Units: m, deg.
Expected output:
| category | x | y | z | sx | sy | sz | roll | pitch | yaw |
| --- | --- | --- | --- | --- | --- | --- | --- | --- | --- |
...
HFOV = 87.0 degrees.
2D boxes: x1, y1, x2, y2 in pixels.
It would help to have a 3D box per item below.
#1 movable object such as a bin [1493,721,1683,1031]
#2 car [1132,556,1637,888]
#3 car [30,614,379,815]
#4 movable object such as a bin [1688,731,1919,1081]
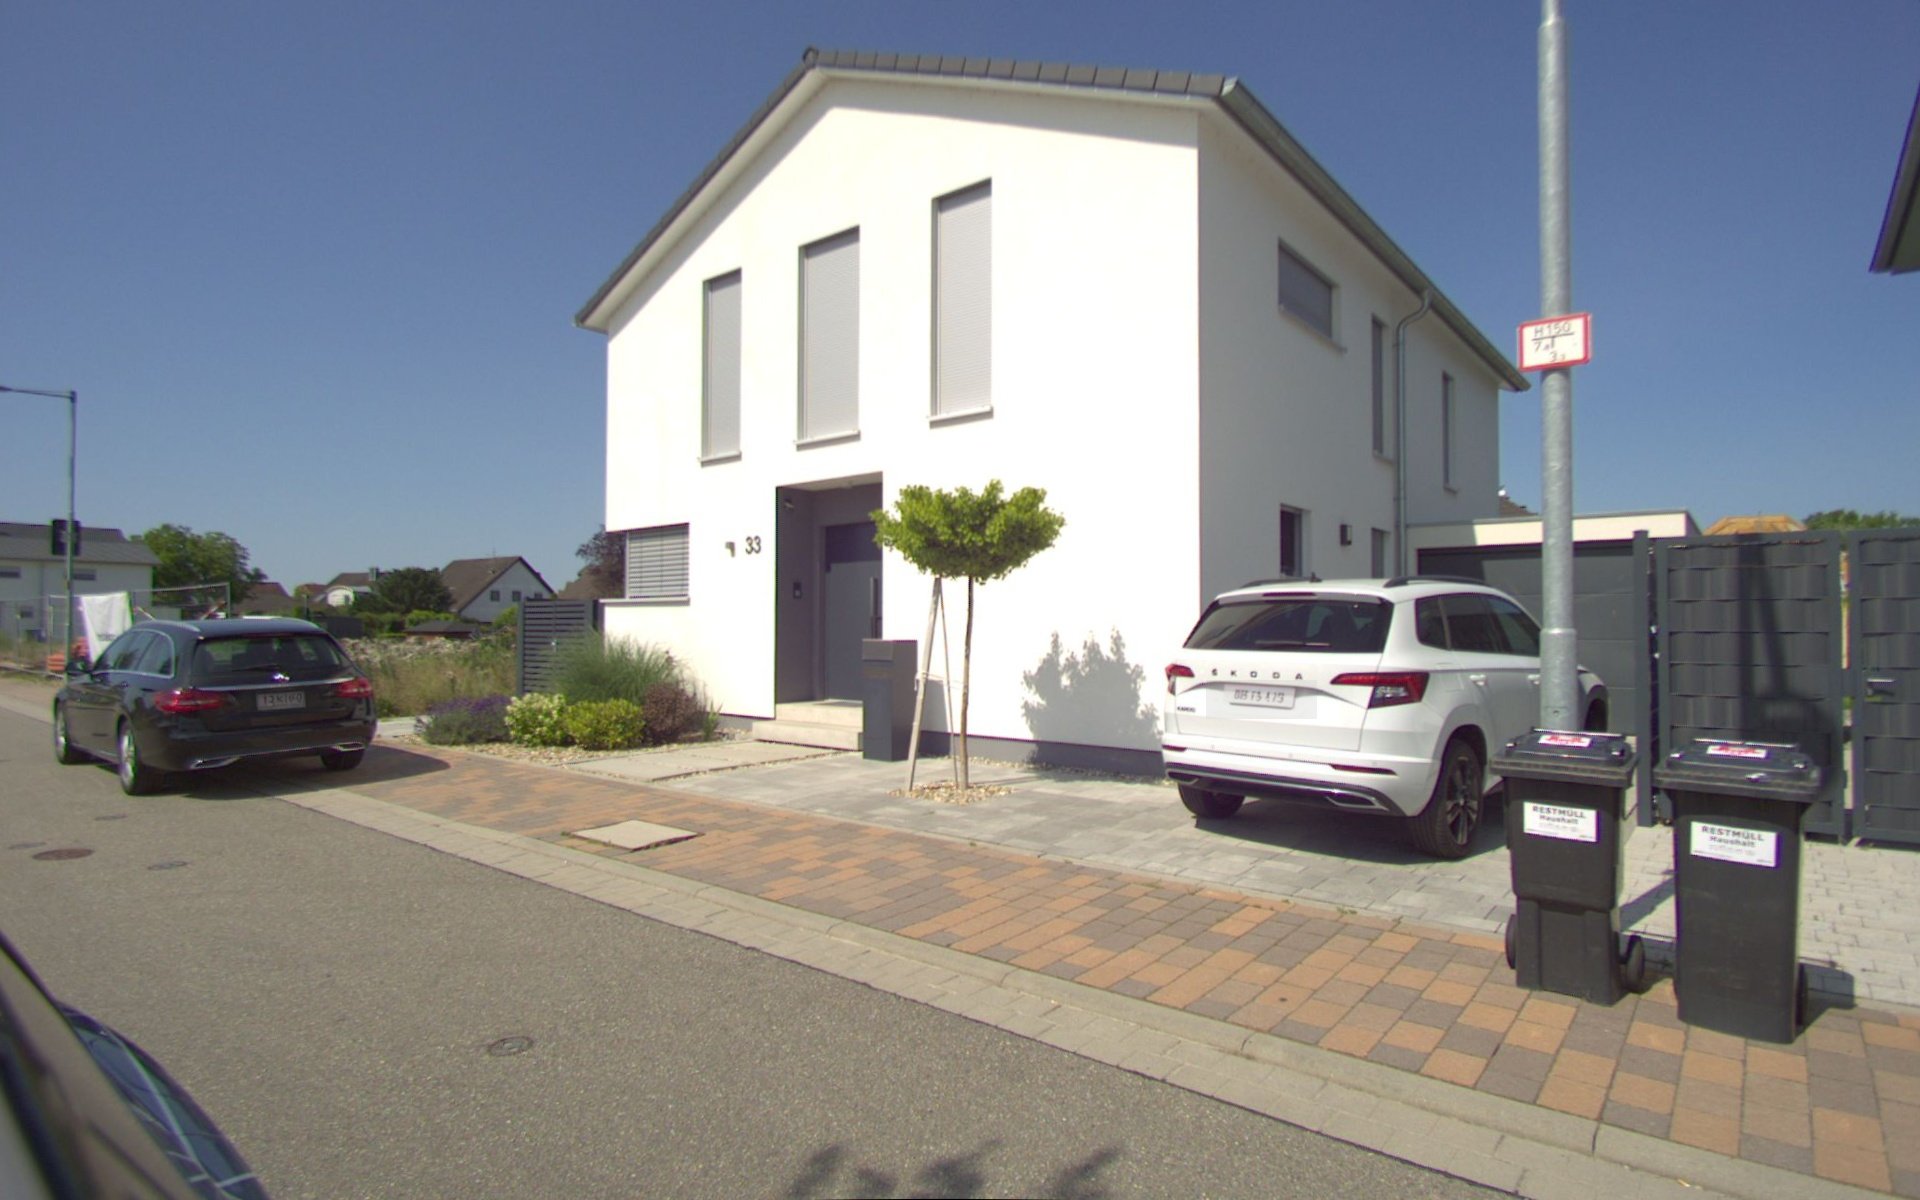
| category | x | y | z | sx | sy | sz | roll | pitch | yaw |
| --- | --- | --- | --- | --- | --- | --- | --- | --- | --- |
| movable object such as a bin | 2.256 | 0.934 | 3.631 | 0.529 | 0.932 | 0.481 | -1 | -2 | 36 |
| car | 3.102 | 0.618 | 6.984 | 3.908 | 1.631 | 1.795 | 0 | -1 | -44 |
| car | -7.373 | 0.915 | 9.696 | 4.440 | 1.484 | 1.674 | -1 | -1 | 39 |
| movable object such as a bin | 2.699 | 0.930 | 3.280 | 0.529 | 0.932 | 0.481 | -1 | -2 | 36 |
